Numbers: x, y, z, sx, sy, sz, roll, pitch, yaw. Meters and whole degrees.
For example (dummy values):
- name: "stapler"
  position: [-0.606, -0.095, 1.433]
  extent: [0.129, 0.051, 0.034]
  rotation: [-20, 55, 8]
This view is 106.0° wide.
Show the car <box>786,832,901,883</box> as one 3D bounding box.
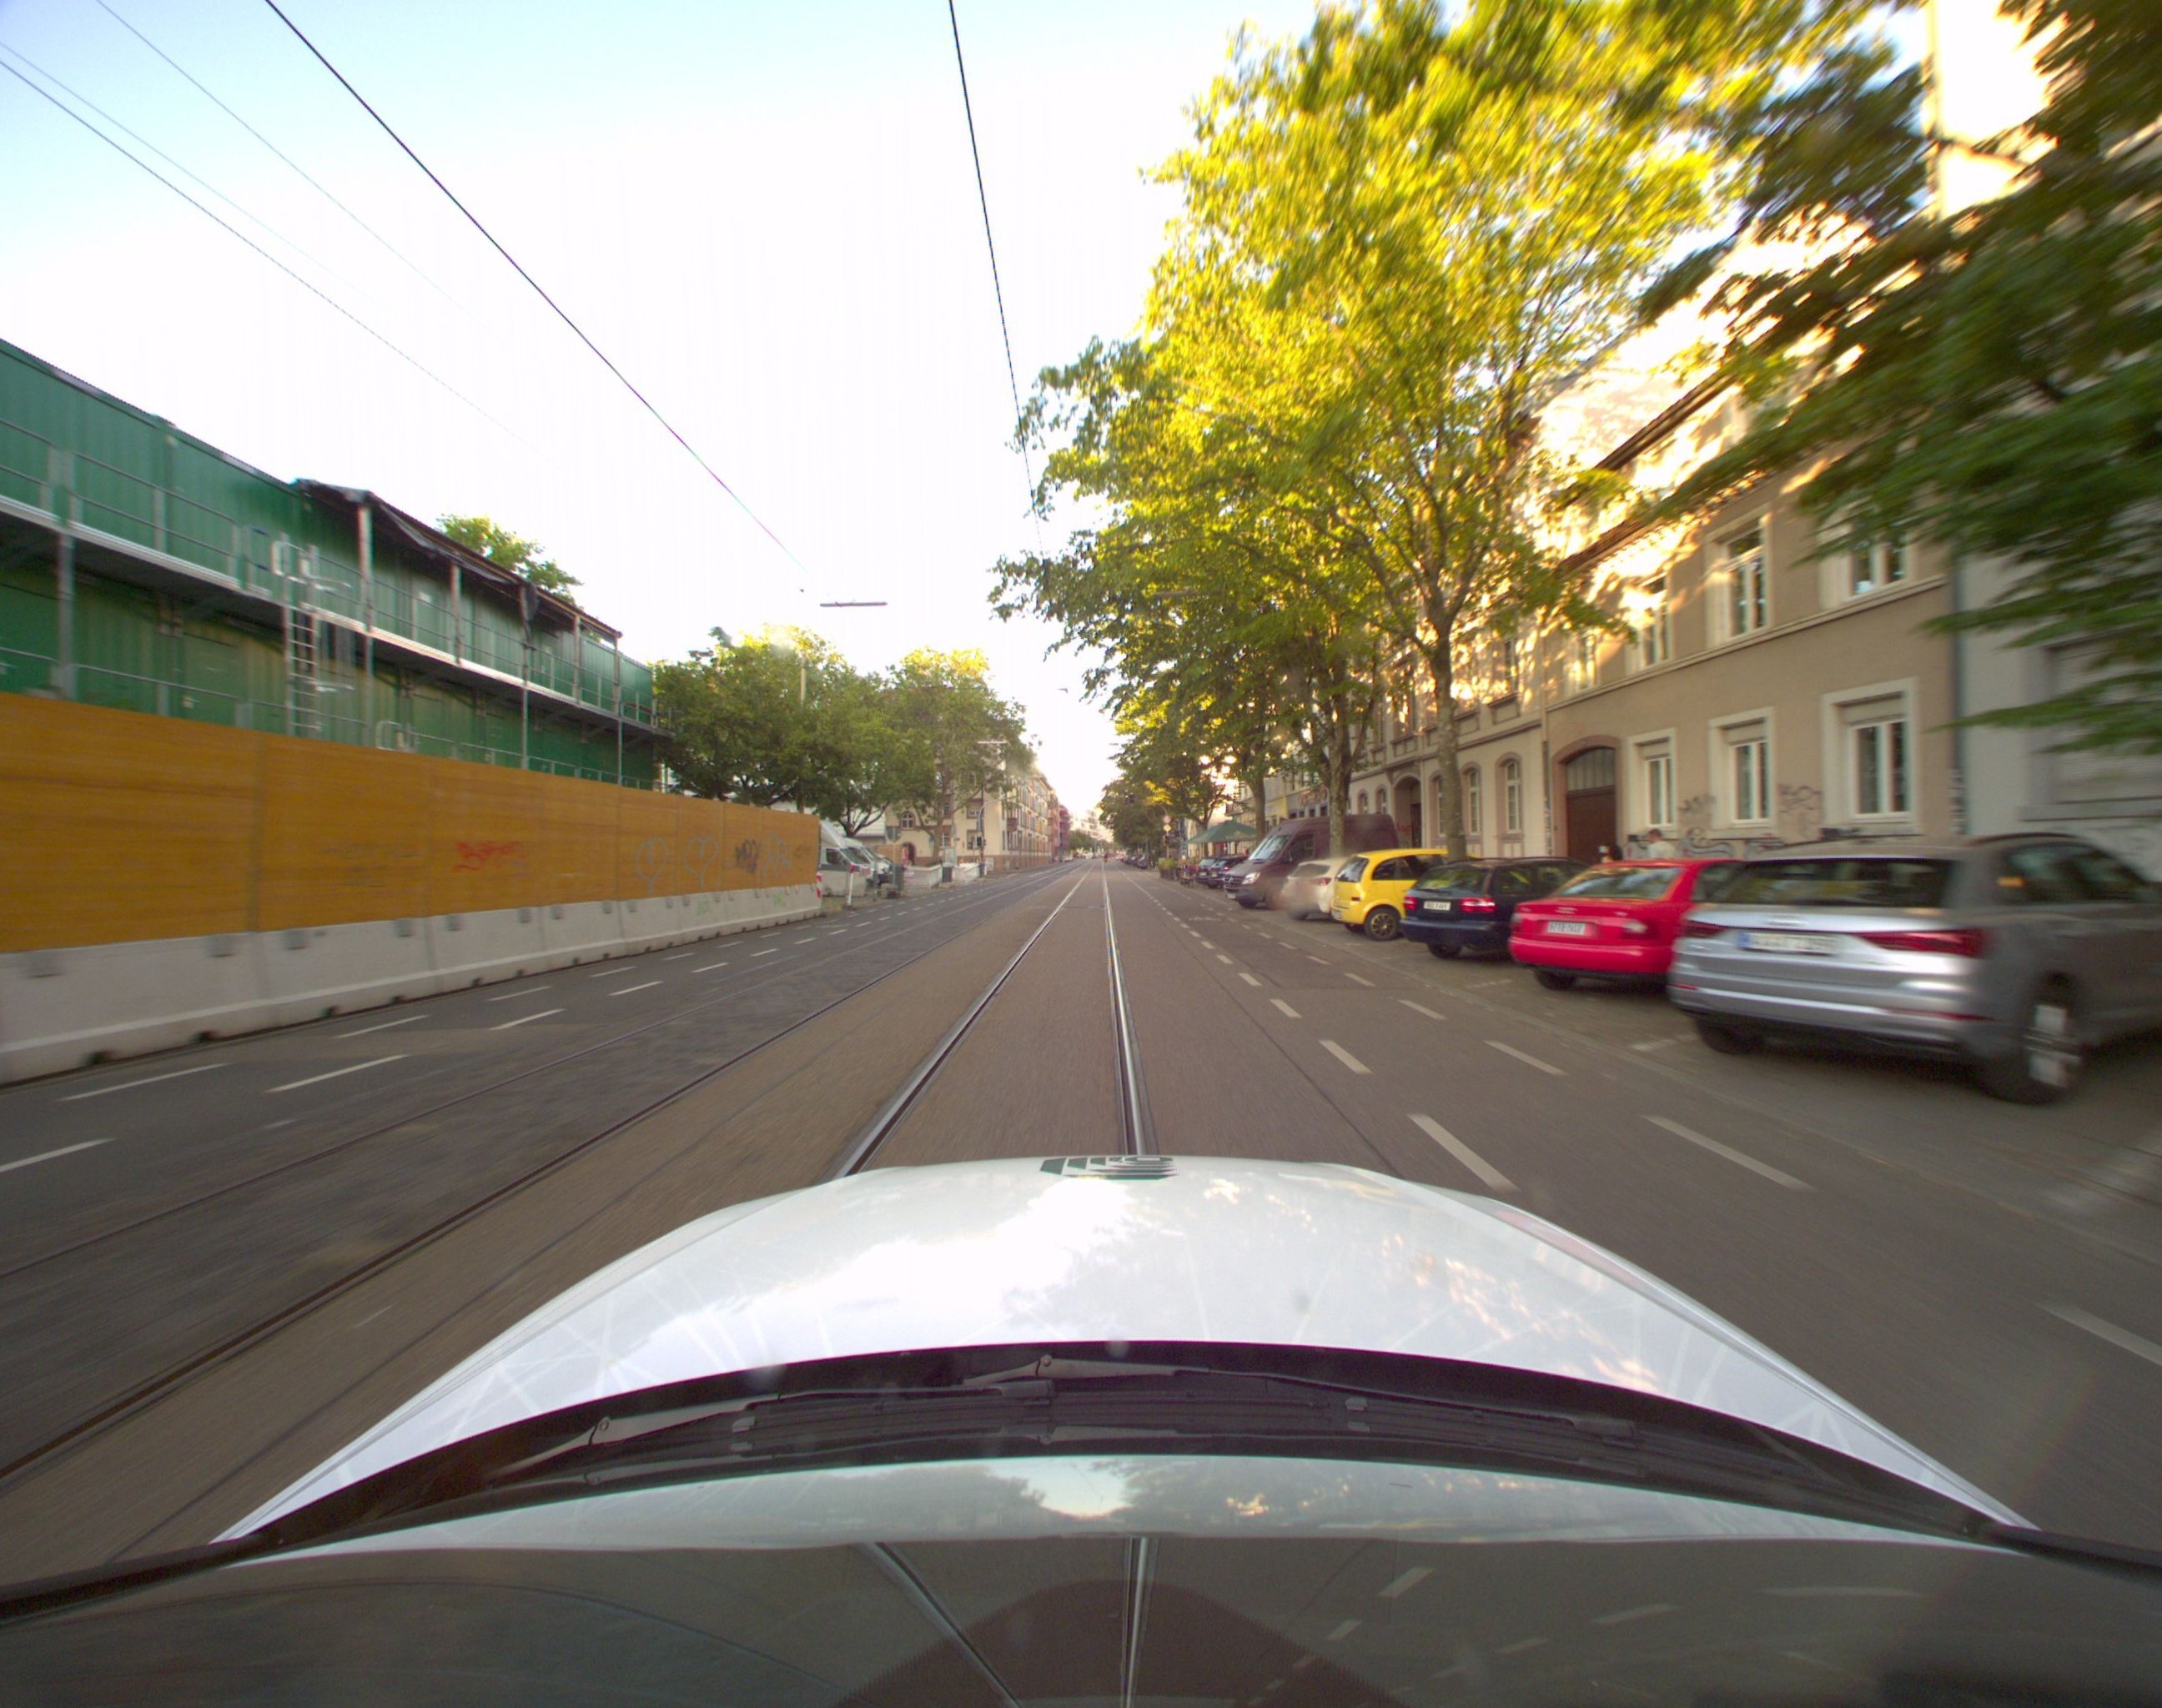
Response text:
- name: "car"
  position: [-12.526, 0.166, 43.234]
  extent: [5.384, 2.558, 2.225]
  rotation: [1, 0, -2]

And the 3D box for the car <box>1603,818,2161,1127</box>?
- name: "car"
  position: [6.266, 0.605, 6.013]
  extent: [4.267, 1.560, 1.884]
  rotation: [-3, -1, -22]

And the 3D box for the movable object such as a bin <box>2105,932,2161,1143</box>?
- name: "movable object such as a bin"
  position: [5.632, 0.877, 3.863]
  extent: [0.821, 0.982, 0.589]
  rotation: [-5, -1, -10]

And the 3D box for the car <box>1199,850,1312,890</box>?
- name: "car"
  position: [7.284, 0.665, 34.107]
  extent: [4.182, 1.462, 1.998]
  rotation: [-2, -1, -15]

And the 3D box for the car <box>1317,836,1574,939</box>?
- name: "car"
  position: [6.702, 0.604, 15.326]
  extent: [3.936, 1.619, 1.921]
  rotation: [-3, -1, 1]

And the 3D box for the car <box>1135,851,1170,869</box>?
- name: "car"
  position: [7.973, 0.688, 91.335]
  extent: [3.872, 1.848, 1.862]
  rotation: [-1, -1, 2]

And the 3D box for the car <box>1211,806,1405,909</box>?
- name: "car"
  position: [6.643, 0.077, 23.986]
  extent: [5.105, 2.642, 2.011]
  rotation: [-3, -1, -16]

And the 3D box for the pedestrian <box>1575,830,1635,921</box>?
- name: "pedestrian"
  position: [9.368, 0.369, 14.588]
  extent: [0.536, 1.568, 0.814]
  rotation: [-1, 0, 3]

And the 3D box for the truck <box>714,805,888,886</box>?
- name: "truck"
  position: [-12.692, -0.380, 37.387]
  extent: [7.039, 3.480, 2.539]
  rotation: [1, 0, -3]

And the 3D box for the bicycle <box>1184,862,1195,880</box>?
- name: "bicycle"
  position: [6.310, 0.983, 47.449]
  extent: [0.417, 1.015, 1.830]
  rotation: [0, 0, 2]

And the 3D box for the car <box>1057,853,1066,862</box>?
- name: "car"
  position: [-4.642, 0.826, 196.581]
  extent: [1.891, 2.178, 4.001]
  rotation: [0, 0, 1]

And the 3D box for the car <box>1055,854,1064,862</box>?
- name: "car"
  position: [-5.024, 0.939, 191.939]
  extent: [1.891, 2.013, 4.001]
  rotation: [0, 0, 1]

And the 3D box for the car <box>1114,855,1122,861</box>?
- name: "car"
  position: [10.049, 1.008, 222.484]
  extent: [1.956, 1.718, 4.001]
  rotation: [0, 0, 1]

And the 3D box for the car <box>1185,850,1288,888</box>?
- name: "car"
  position: [7.050, 0.678, 36.949]
  extent: [4.194, 1.498, 1.993]
  rotation: [-2, -1, -24]

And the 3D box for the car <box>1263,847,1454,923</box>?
- name: "car"
  position: [6.572, 0.692, 19.322]
  extent: [3.967, 1.486, 1.906]
  rotation: [-3, -1, -23]

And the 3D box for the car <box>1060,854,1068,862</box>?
- name: "car"
  position: [-4.232, 1.075, 202.131]
  extent: [1.891, 2.013, 4.001]
  rotation: [0, 0, 1]

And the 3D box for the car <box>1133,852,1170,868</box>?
- name: "car"
  position: [7.432, 0.655, 86.104]
  extent: [3.872, 1.592, 1.862]
  rotation: [-1, 0, 2]

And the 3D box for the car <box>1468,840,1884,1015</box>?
- name: "car"
  position: [6.585, 0.672, 9.018]
  extent: [4.141, 1.425, 1.882]
  rotation: [-3, -1, -24]

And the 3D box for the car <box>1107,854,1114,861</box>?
- name: "car"
  position: [7.606, 0.895, 211.247]
  extent: [1.891, 2.013, 4.001]
  rotation: [0, 0, 1]

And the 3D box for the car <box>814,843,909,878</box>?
- name: "car"
  position: [-13.215, 0.382, 49.154]
  extent: [5.002, 1.945, 2.230]
  rotation: [1, 0, 5]

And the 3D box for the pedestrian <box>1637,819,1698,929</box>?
- name: "pedestrian"
  position: [10.013, 0.335, 13.912]
  extent: [0.563, 1.814, 0.607]
  rotation: [-1, 0, 1]

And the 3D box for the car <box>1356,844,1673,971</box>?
- name: "car"
  position: [6.304, 0.679, 11.864]
  extent: [4.141, 1.425, 1.905]
  rotation: [-3, -1, -24]

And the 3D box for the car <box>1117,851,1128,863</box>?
- name: "car"
  position: [6.820, 0.454, 133.718]
  extent: [1.798, 2.013, 4.001]
  rotation: [0, 0, 1]

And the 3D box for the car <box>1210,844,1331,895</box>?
- name: "car"
  position: [7.030, 0.574, 30.387]
  extent: [4.006, 1.708, 1.814]
  rotation: [-2, -1, -6]
